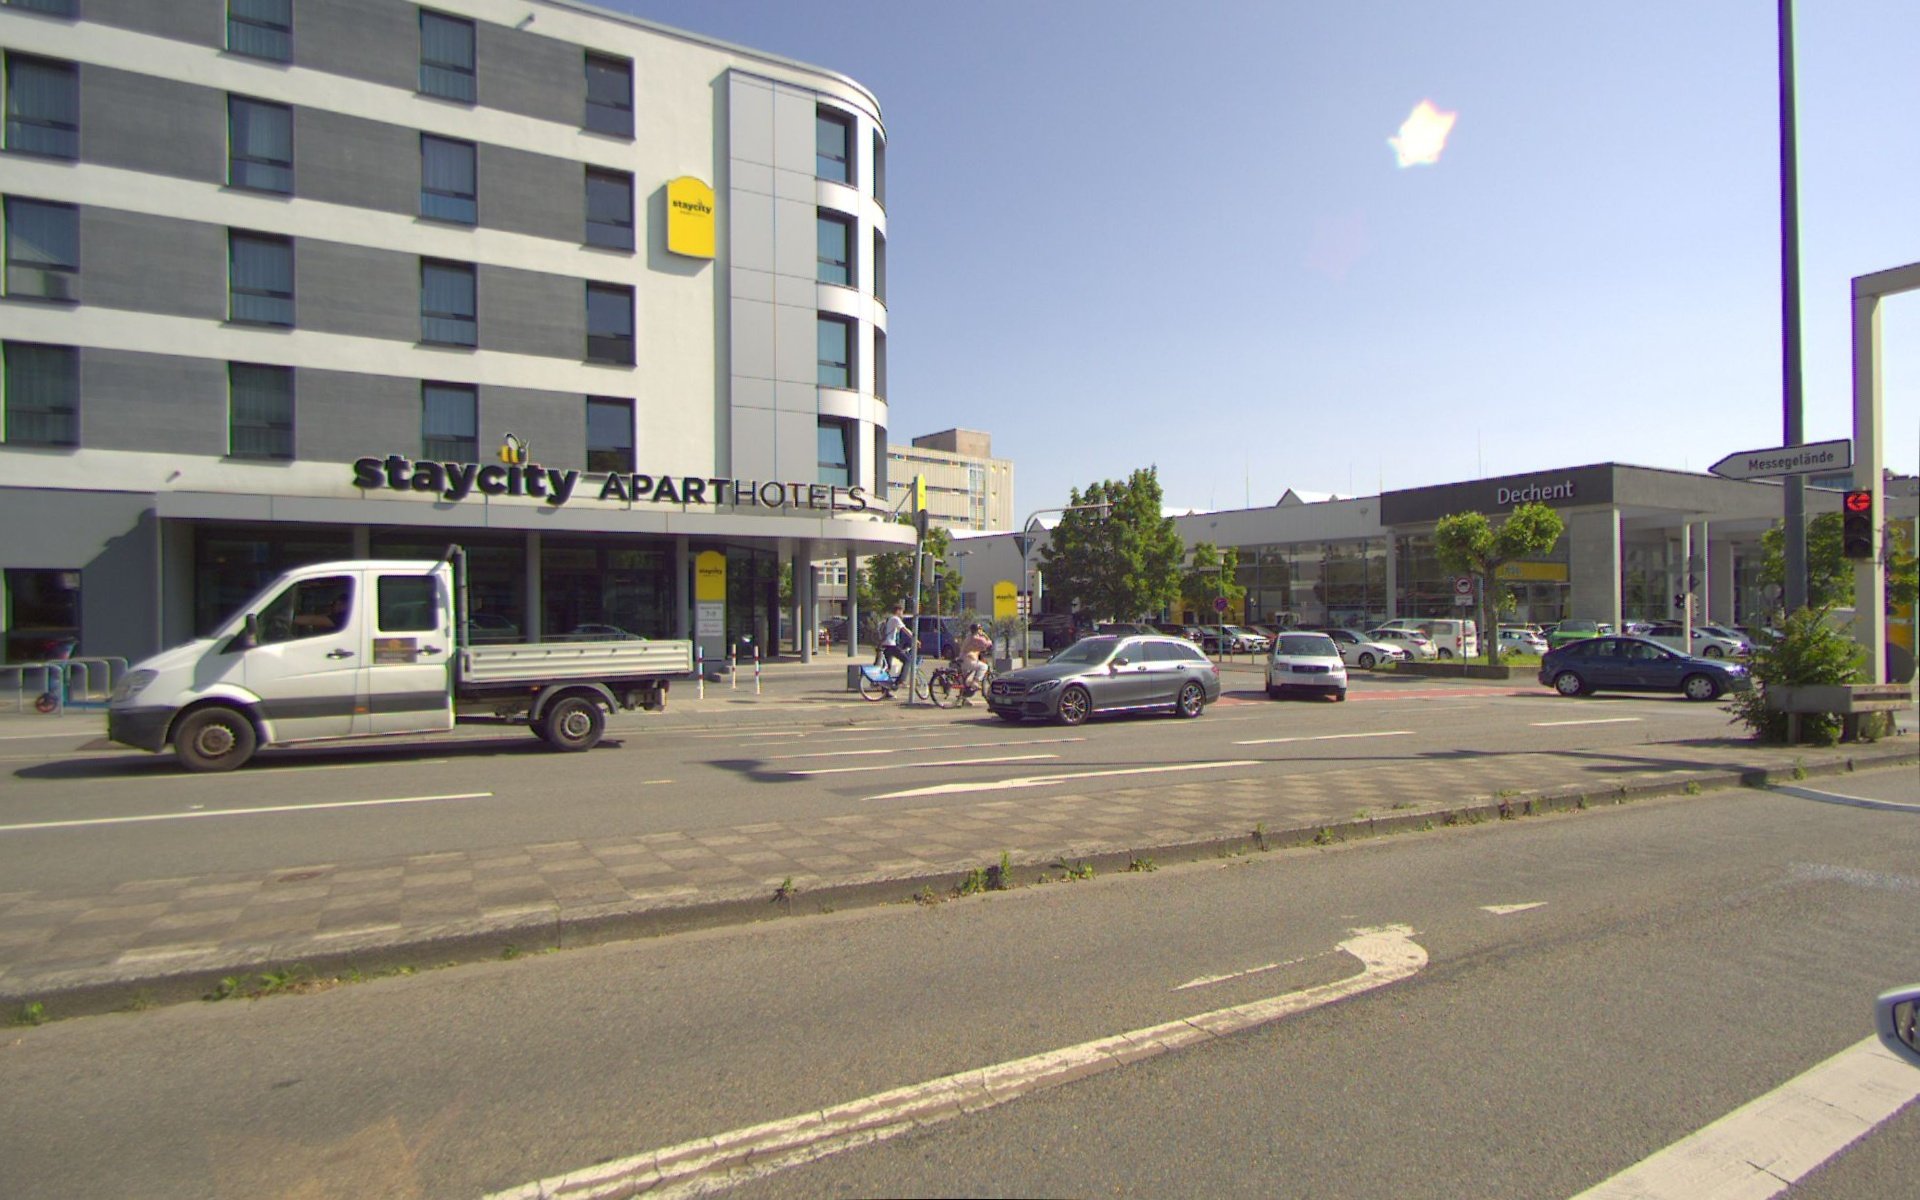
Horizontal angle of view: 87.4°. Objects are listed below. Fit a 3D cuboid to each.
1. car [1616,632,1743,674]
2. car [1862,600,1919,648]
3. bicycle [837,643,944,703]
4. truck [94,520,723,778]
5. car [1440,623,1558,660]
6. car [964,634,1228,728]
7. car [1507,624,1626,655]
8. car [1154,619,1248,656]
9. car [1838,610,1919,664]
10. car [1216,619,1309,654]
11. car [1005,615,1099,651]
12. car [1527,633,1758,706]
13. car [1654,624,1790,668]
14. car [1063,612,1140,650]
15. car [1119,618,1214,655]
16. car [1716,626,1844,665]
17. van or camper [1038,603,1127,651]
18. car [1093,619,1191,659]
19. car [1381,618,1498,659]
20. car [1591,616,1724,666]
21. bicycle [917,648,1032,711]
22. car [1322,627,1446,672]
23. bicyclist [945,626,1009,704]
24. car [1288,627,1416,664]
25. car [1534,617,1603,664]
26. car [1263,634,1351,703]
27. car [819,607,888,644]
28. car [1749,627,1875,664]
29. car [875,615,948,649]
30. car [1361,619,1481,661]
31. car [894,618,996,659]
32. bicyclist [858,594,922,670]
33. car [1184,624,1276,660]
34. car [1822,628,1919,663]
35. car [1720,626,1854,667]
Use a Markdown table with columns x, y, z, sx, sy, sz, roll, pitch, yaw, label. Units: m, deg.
| x | y | z | sx | sy | sz | roll | pitch | yaw | label |
| --- | --- | --- | --- | --- | --- | --- | --- | --- | --- |
| 30.340 | 2.207 | 42.449 | 1.981 | 1.620 | 3.959 | 1 | -2 | -36 | car |
| 53.242 | 1.348 | 55.761 | 1.973 | 2.635 | 4.345 | 1 | -1 | -24 | car |
| -1.378 | 1.448 | 20.269 | 2.145 | 1.131 | 0.761 | 2 | -2 | -41 | bicycle |
| -6.449 | 0.591 | 12.668 | 6.361 | 2.578 | 2.346 | 1 | -3 | -30 | truck |
| 24.557 | 1.869 | 45.884 | 1.982 | 1.612 | 4.325 | 1 | -2 | -37 | car |
| 2.456 | 1.323 | 17.638 | 4.542 | 1.446 | 1.942 | 1 | -2 | -36 | car |
| 27.872 | 1.834 | 46.271 | 1.982 | 1.284 | 4.325 | 4 | -4 | -37 | car |
| 11.801 | 1.808 | 49.485 | 1.980 | 1.719 | 4.328 | 1 | -2 | -35 | car |
| 49.093 | 1.932 | 52.399 | 2.096 | 2.720 | 4.490 | 1 | -1 | -21 | car |
| 15.817 | 1.880 | 52.698 | 1.982 | 1.719 | 4.324 | 1 | -2 | -37 | car |
| 4.570 | 1.623 | 50.249 | 4.304 | 1.719 | 1.991 | -1 | -2 | 39 | car |
| 16.437 | 1.611 | 24.351 | 1.986 | 1.466 | 4.316 | 2 | -1 | -42 | car |
| 32.857 | 1.934 | 43.412 | 1.978 | 1.789 | 4.274 | 1 | -2 | -32 | car |
| 7.761 | 1.693 | 55.307 | 1.983 | 2.040 | 3.956 | 1 | -2 | -38 | car |
| 9.891 | 1.731 | 48.318 | 1.980 | 1.719 | 4.328 | 1 | -2 | -35 | car |
| 38.917 | 2.132 | 47.748 | 1.978 | 1.719 | 4.333 | 1 | -2 | -32 | car |
| 6.409 | 1.416 | 53.003 | 1.983 | 2.432 | 4.678 | 1 | -2 | -38 | van or camper |
| 8.288 | 1.752 | 46.115 | 1.980 | 1.719 | 4.328 | 1 | -2 | -35 | car |
| 21.409 | 1.691 | 44.960 | 1.982 | 1.719 | 4.323 | 1 | -2 | -38 | car |
| 27.357 | 1.573 | 39.499 | 1.978 | 1.862 | 3.849 | 1 | -2 | -32 | car |
| 0.294 | 1.518 | 19.550 | 2.136 | 1.131 | 0.764 | 1 | -1 | -30 | bicycle |
| 17.346 | 1.981 | 41.229 | 1.980 | 1.719 | 4.328 | 1 | -2 | -35 | car |
| 0.328 | 1.244 | 19.535 | 1.014 | 1.479 | 0.764 | 1 | -1 | -29 | bicyclist |
| 15.153 | 1.743 | 39.027 | 1.980 | 1.317 | 4.328 | 1 | -2 | -35 | car |
| 23.999 | 1.607 | 39.722 | 1.870 | 1.756 | 3.293 | 0 | -3 | 23 | car |
| 8.177 | 1.561 | 23.933 | 1.742 | 1.457 | 3.918 | 0 | -1 | 15 | car |
| -6.755 | 1.612 | 63.452 | 1.985 | 2.158 | 4.565 | 2 | 0 | -42 | car |
| 41.609 | 2.181 | 49.143 | 1.978 | 1.719 | 4.333 | 1 | -2 | -32 | car |
| -2.894 | 1.884 | 59.543 | 1.971 | 1.815 | 4.376 | 2 | 0 | -42 | car |
| 19.827 | 1.700 | 43.334 | 1.982 | 1.719 | 4.323 | 1 | -2 | -38 | car |
| -0.720 | 1.667 | 44.539 | 1.984 | 1.737 | 4.773 | 2 | -2 | -40 | car |
| -1.409 | 0.637 | 20.249 | 1.018 | 1.479 | 0.761 | 1 | -2 | -40 | bicyclist |
| 13.772 | 2.119 | 51.485 | 1.980 | 1.719 | 4.328 | 1 | -2 | -35 | car |
| 47.022 | 2.288 | 51.132 | 1.973 | 1.719 | 4.345 | 1 | -1 | -24 | car |
| 37.444 | 2.075 | 45.600 | 1.978 | 1.719 | 4.333 | 1 | -1 | -32 | car |
